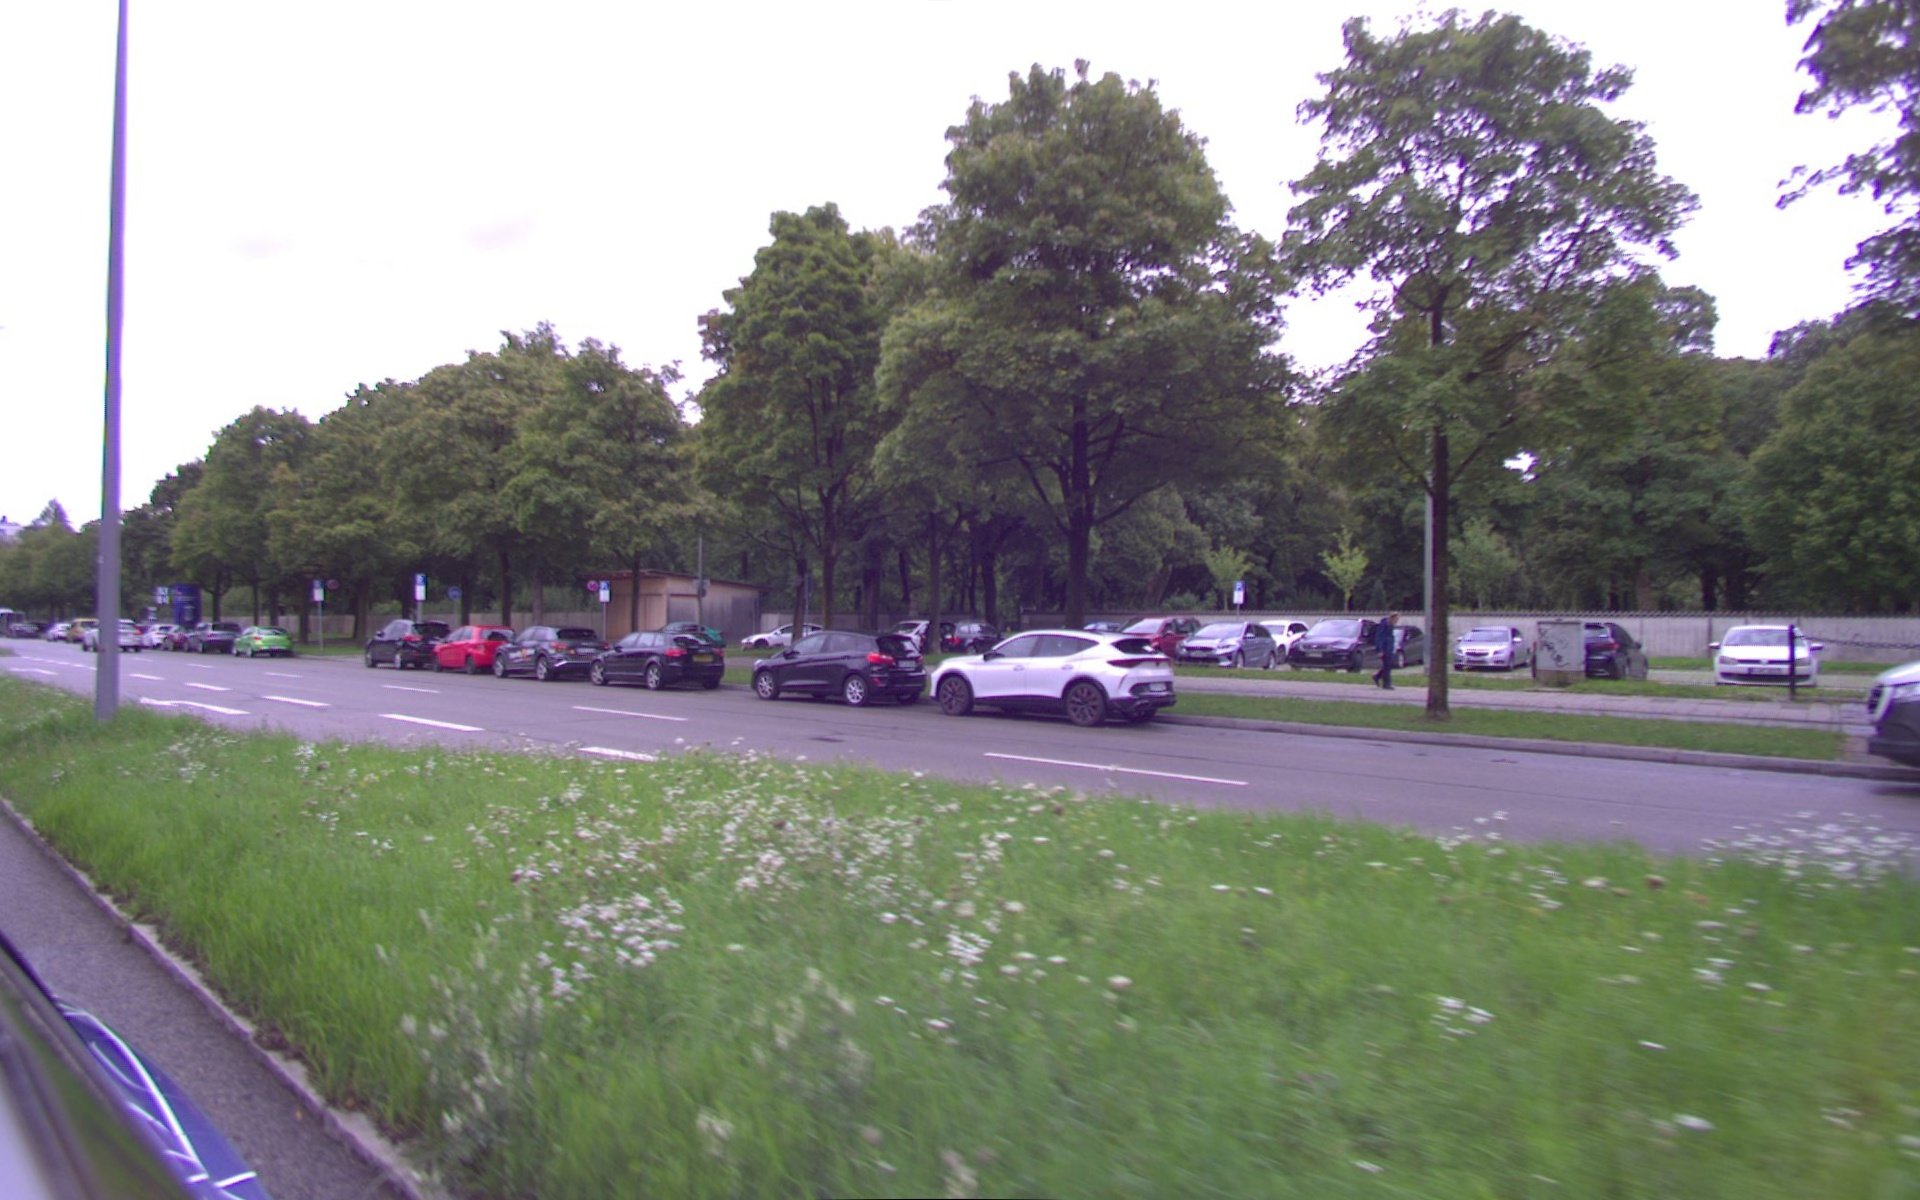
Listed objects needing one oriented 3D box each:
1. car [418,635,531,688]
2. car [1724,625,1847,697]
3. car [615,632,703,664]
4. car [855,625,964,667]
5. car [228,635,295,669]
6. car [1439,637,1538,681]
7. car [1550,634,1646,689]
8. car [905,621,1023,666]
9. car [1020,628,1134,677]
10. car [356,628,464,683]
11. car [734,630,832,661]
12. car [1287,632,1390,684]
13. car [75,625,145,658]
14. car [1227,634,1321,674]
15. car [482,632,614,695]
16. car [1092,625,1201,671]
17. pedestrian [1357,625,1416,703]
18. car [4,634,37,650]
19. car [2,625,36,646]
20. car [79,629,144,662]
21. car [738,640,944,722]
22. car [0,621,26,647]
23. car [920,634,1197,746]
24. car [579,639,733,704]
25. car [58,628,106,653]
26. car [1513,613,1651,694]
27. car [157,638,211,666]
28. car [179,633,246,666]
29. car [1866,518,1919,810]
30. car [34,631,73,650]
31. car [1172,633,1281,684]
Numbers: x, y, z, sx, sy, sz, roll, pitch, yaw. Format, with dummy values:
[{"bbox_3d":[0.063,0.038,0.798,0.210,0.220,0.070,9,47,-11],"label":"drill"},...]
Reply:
[{"bbox_3d":[-15.344,1.894,31.908,3.807,1.490,1.803,0,-1,40],"label":"car"},{"bbox_3d":[17.177,1.213,21.161,1.812,1.349,3.948,-1,-2,38],"label":"car"},{"bbox_3d":[-13.886,2.198,46.622,3.793,1.420,1.865,0,-2,-19],"label":"car"},{"bbox_3d":[-1.793,1.648,37.153,1.996,1.453,3.951,-1,-2,36],"label":"car"},{"bbox_3d":[-32.018,2.364,46.349,3.999,1.511,1.623,-2,-4,42],"label":"car"},{"bbox_3d":[18.192,1.974,34.772,3.941,1.383,1.879,2,-3,-45],"label":"car"},{"bbox_3d":[20.630,1.924,32.671,3.941,1.666,1.771,2,-3,-45],"label":"car"},{"bbox_3d":[0.201,1.456,34.865,1.998,1.453,4.095,-1,-2,38],"label":"car"},{"bbox_3d":[3.804,1.621,32.368,1.996,1.453,3.952,-1,-2,35],"label":"car"},{"bbox_3d":[-18.889,1.836,34.668,4.236,1.712,1.803,0,-1,40],"label":"car"},{"bbox_3d":[-8.480,2.144,48.492,4.392,1.420,1.865,0,-1,-17],"label":"car"},{"bbox_3d":[10.058,1.474,26.752,1.686,1.268,3.953,-1,-2,34],"label":"car"},{"bbox_3d":[-43.442,2.098,51.684,4.681,1.632,2.004,-1,-3,41],"label":"car"},{"bbox_3d":[12.504,2.103,40.144,1.998,1.453,4.459,-2,-2,40],"label":"car"},{"bbox_3d":[-11.516,1.712,28.180,4.112,1.611,1.802,-1,-2,42],"label":"car"},{"bbox_3d":[5.629,1.397,30.190,1.737,1.293,3.952,-1,-2,35],"label":"car"},{"bbox_3d":[8.490,1.249,20.142,0.856,1.507,0.786,-2,-3,41],"label":"pedestrian"},{"bbox_3d":[-88.468,3.964,95.316,4.037,1.420,1.695,-1,-3,39],"label":"car"},{"bbox_3d":[-91.815,3.482,98.783,3.997,2.029,1.973,-1,-2,41],"label":"car"},{"bbox_3d":[-43.211,2.307,51.496,4.400,1.612,1.831,-2,-4,41],"label":"car"},{"bbox_3d":[-2.439,1.567,20.321,3.994,1.459,1.804,-1,-4,38],"label":"car"},{"bbox_3d":[-97.715,3.529,103.932,4.495,2.611,1.974,-1,-4,39],"label":"car"},{"bbox_3d":[1.552,1.406,16.837,4.295,1.539,1.803,0,-3,40],"label":"car"},{"bbox_3d":[-7.462,1.704,24.664,4.000,1.420,1.801,-2,-4,43],"label":"car"},{"bbox_3d":[-64.710,2.988,74.599,4.529,1.784,1.839,-1,-3,39],"label":"car"},{"bbox_3d":[13.493,1.102,21.864,1.814,1.582,3.944,-2,-2,42],"label":"car"},{"bbox_3d":[-42.831,2.861,55.840,3.685,1.433,1.632,-2,-5,42],"label":"car"},{"bbox_3d":[-38.388,2.514,51.926,4.454,1.643,1.802,-2,-3,41],"label":"car"},{"bbox_3d":[11.918,0.546,7.899,7.101,2.664,2.117,-2,-4,41],"label":"car"},{"bbox_3d":[-72.594,3.252,81.041,4.037,1.454,1.695,-1,-3,39],"label":"car"},{"bbox_3d":[7.515,1.580,28.285,1.736,1.293,3.953,-1,-2,34],"label":"car"}]
